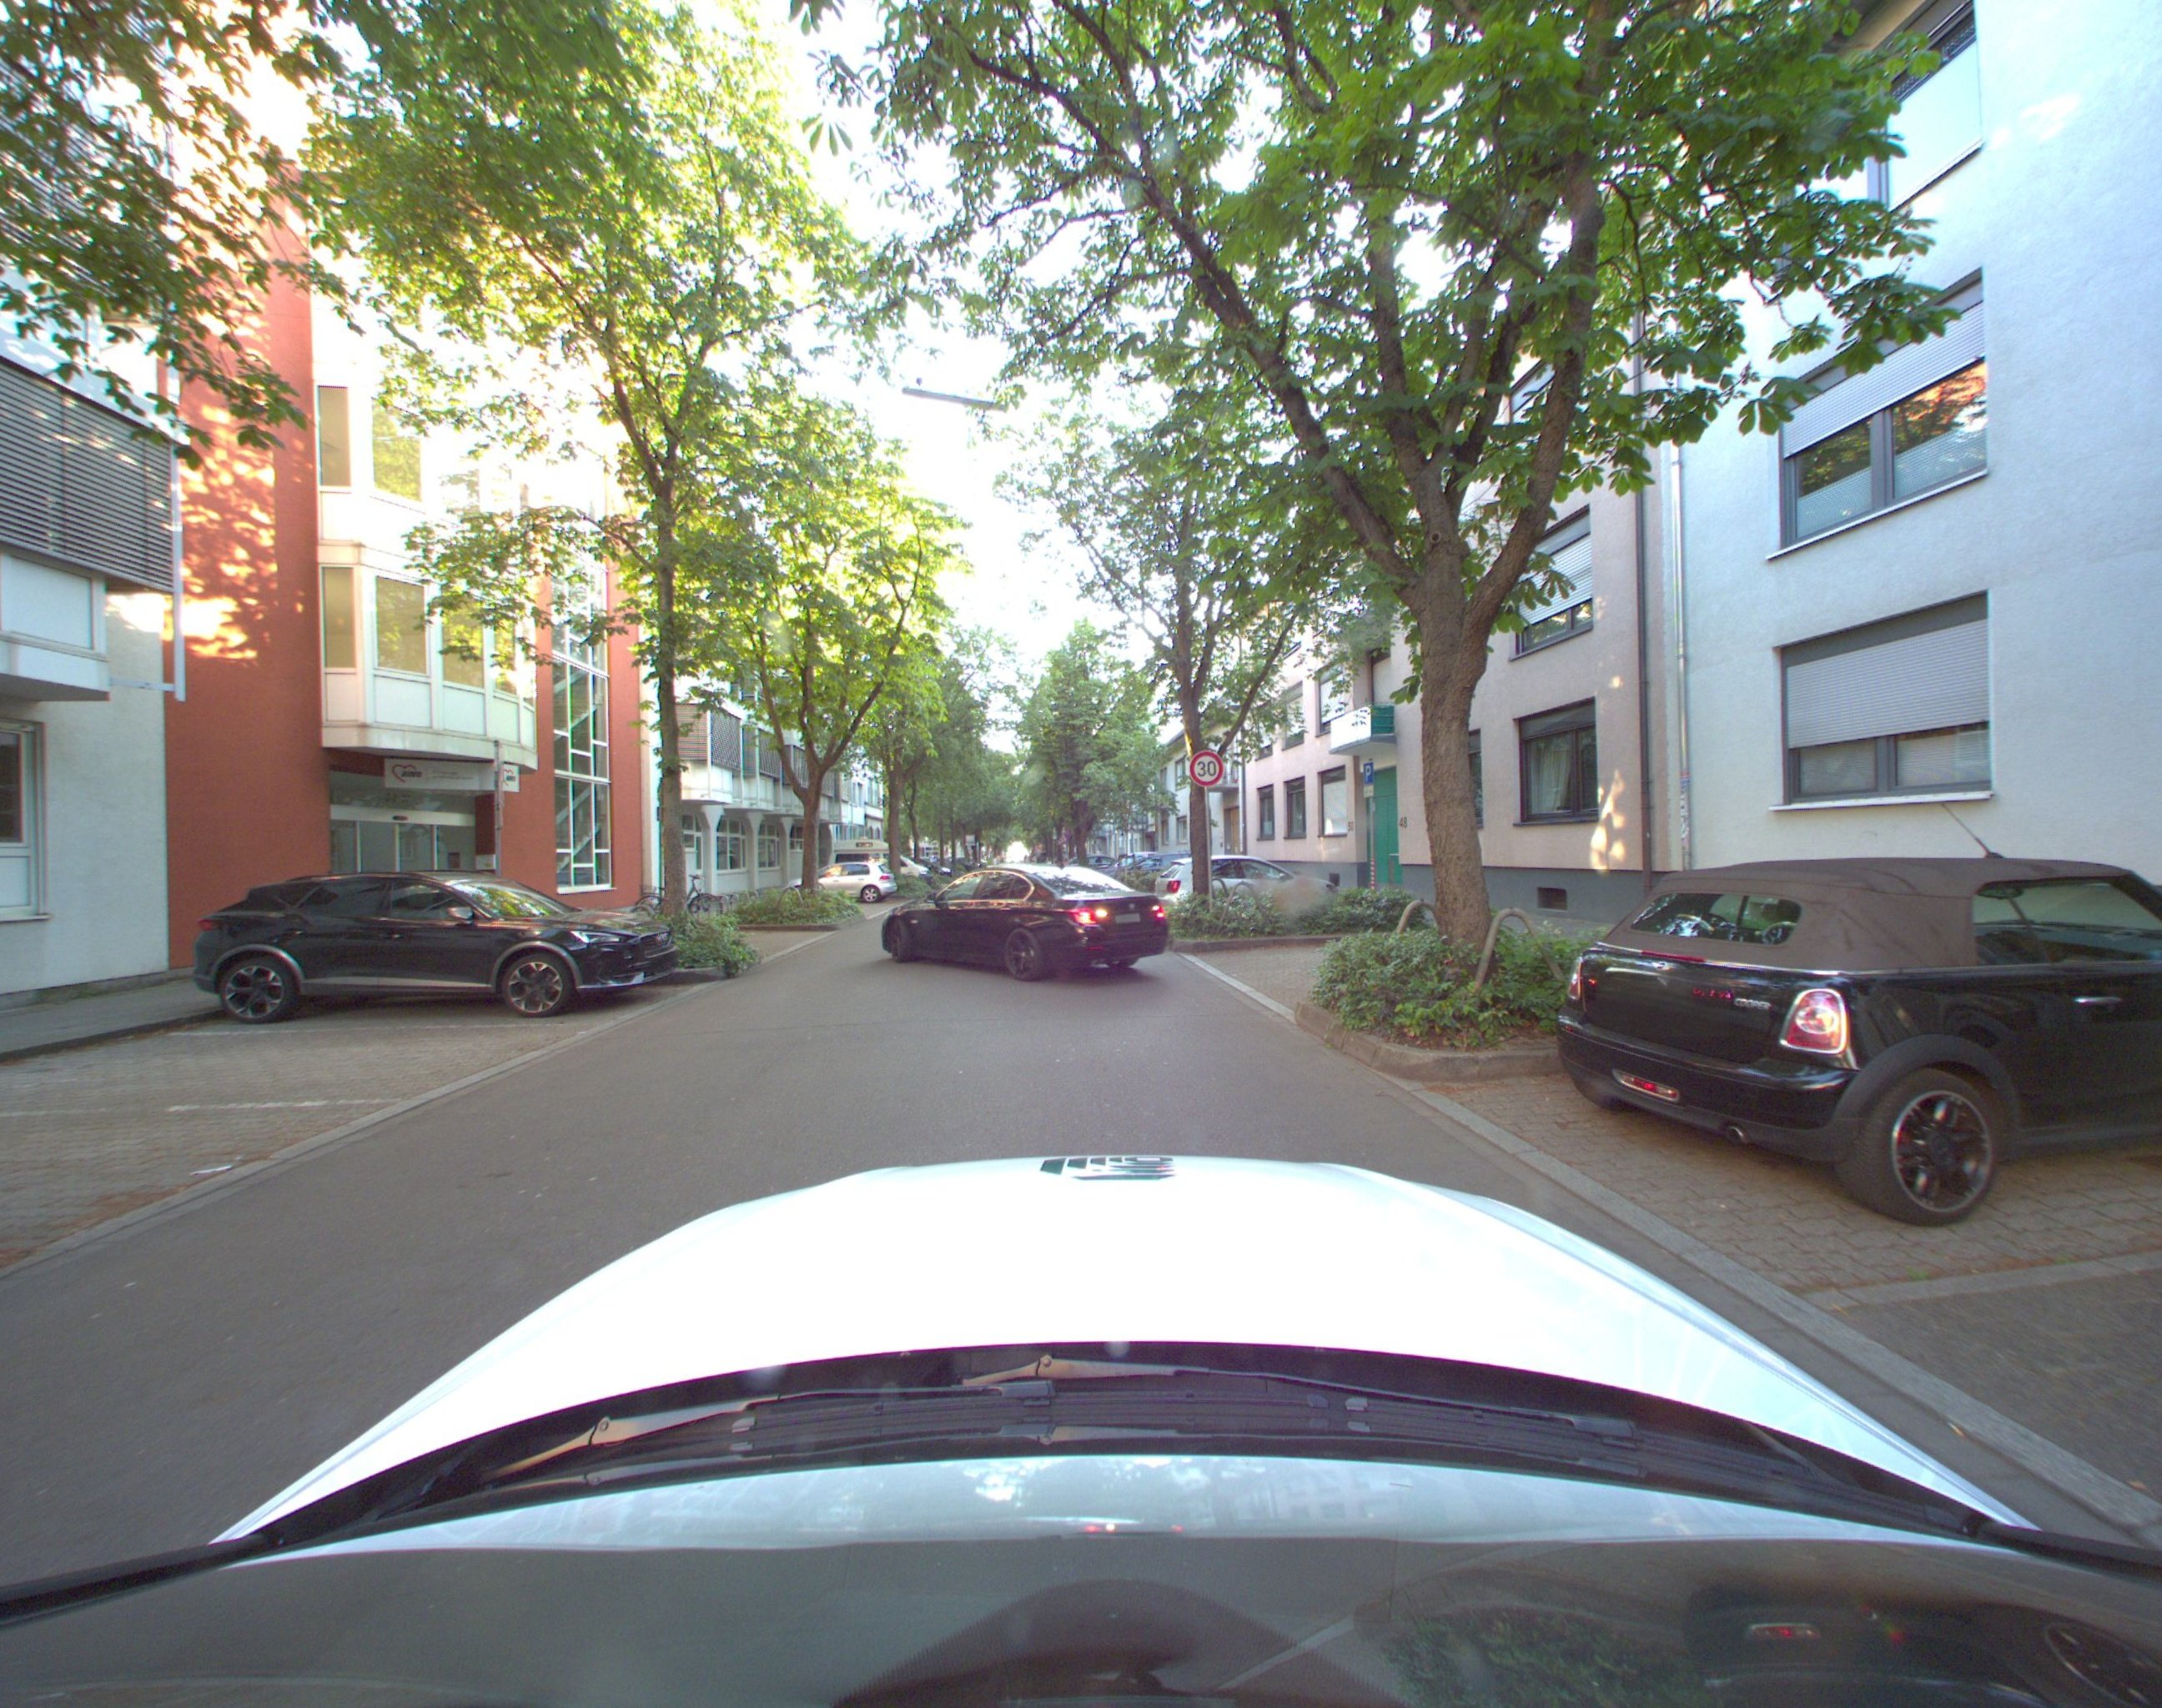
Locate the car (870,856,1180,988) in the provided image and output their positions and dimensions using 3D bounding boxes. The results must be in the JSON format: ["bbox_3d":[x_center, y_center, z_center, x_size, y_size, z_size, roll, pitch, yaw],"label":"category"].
[{"bbox_3d":[-0.986,0.802,11.468,1.778,1.450,4.610,-1,0,-44],"label":"car"}]

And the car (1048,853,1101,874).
[{"bbox_3d":[-0.508,0.670,58.759,3.653,1.393,1.562,-2,0,-7],"label":"car"}]

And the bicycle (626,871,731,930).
[{"bbox_3d":[-8.858,1.009,17.989,1.973,1.199,0.499,-1,0,-16],"label":"bicycle"}]

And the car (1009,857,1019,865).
[{"bbox_3d":[-13.505,1.342,164.850,1.891,1.475,3.995,-1,0,-4],"label":"car"}]

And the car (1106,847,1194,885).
[{"bbox_3d":[3.131,0.536,37.458,3.788,1.530,1.562,-2,0,-7],"label":"car"}]

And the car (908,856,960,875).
[{"bbox_3d":[-11.861,0.936,65.953,4.015,1.471,1.637,0,0,-5],"label":"car"}]

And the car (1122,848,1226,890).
[{"bbox_3d":[3.489,0.555,30.908,3.653,1.393,1.562,-2,0,-7],"label":"car"}]

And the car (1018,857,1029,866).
[{"bbox_3d":[-10.651,1.414,150.216,1.990,1.552,3.993,-1,0,-5],"label":"car"}]

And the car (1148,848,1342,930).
[{"bbox_3d":[3.364,0.682,17.025,3.653,1.479,1.562,-2,0,-7],"label":"car"}]

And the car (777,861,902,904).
[{"bbox_3d":[-8.825,1.010,29.967,4.125,1.471,1.637,0,0,-5],"label":"car"}]

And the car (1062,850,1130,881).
[{"bbox_3d":[0.808,0.637,45.989,3.653,1.536,1.562,-2,0,-7],"label":"car"}]

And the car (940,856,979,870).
[{"bbox_3d":[-12.963,0.946,86.809,4.015,1.471,1.637,0,0,-5],"label":"car"}]

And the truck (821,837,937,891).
[{"bbox_3d":[-9.416,0.428,38.236,4.989,2.441,1.914,0,1,-4],"label":"truck"}]

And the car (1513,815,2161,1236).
[{"bbox_3d":[4.481,0.616,4.218,3.703,1.428,1.622,-4,0,-10],"label":"car"}]

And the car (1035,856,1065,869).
[{"bbox_3d":[-3.883,1.048,102.107,3.653,1.393,1.562,-2,0,-7],"label":"car"}]

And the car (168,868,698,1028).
[{"bbox_3d":[-6.949,0.948,9.189,4.349,1.509,1.832,0,0,-5],"label":"car"}]
